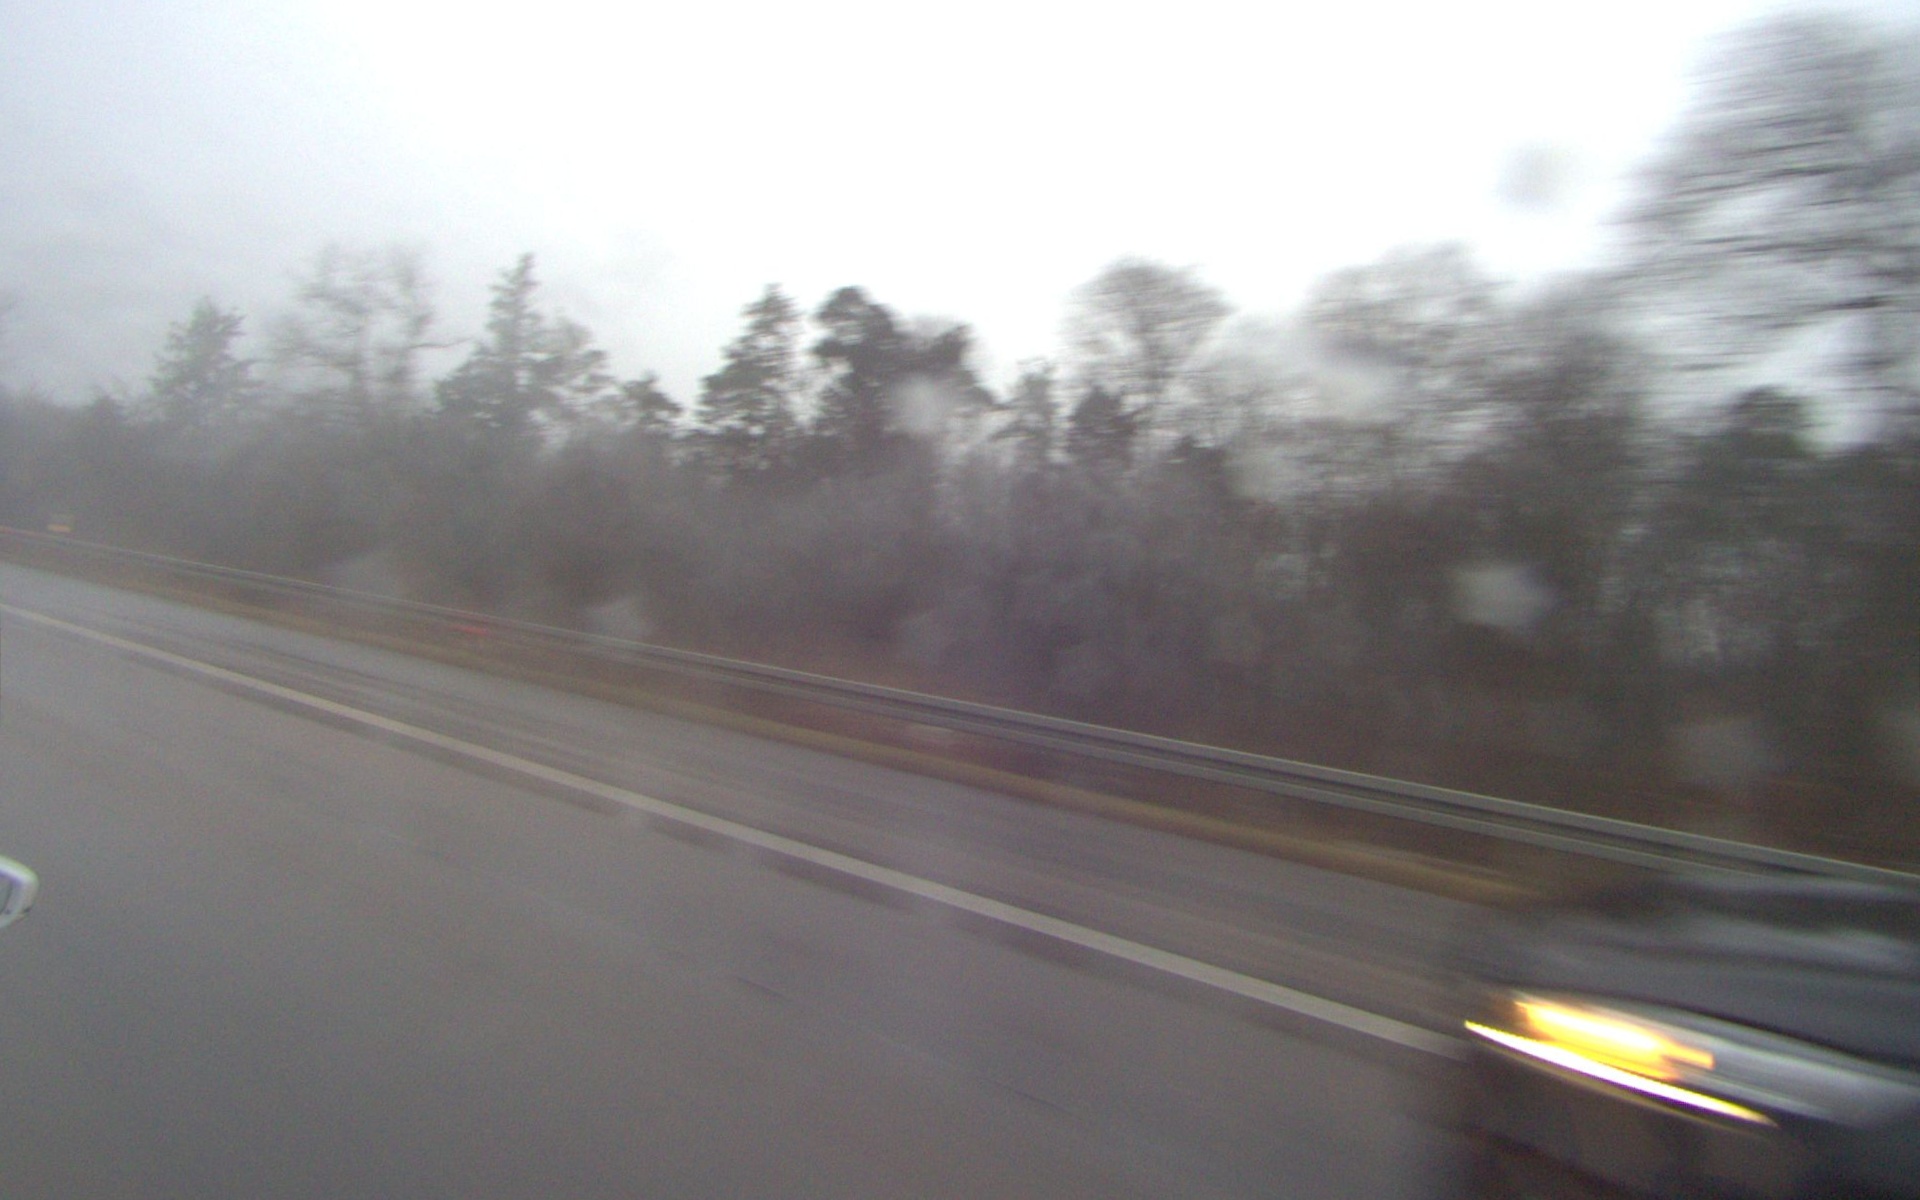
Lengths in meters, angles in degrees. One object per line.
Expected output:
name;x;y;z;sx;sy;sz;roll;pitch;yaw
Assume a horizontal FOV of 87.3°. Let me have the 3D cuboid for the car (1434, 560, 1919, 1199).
car;3.230;1.101;1.502;4.386;1.717;2.074;7;-1;31
